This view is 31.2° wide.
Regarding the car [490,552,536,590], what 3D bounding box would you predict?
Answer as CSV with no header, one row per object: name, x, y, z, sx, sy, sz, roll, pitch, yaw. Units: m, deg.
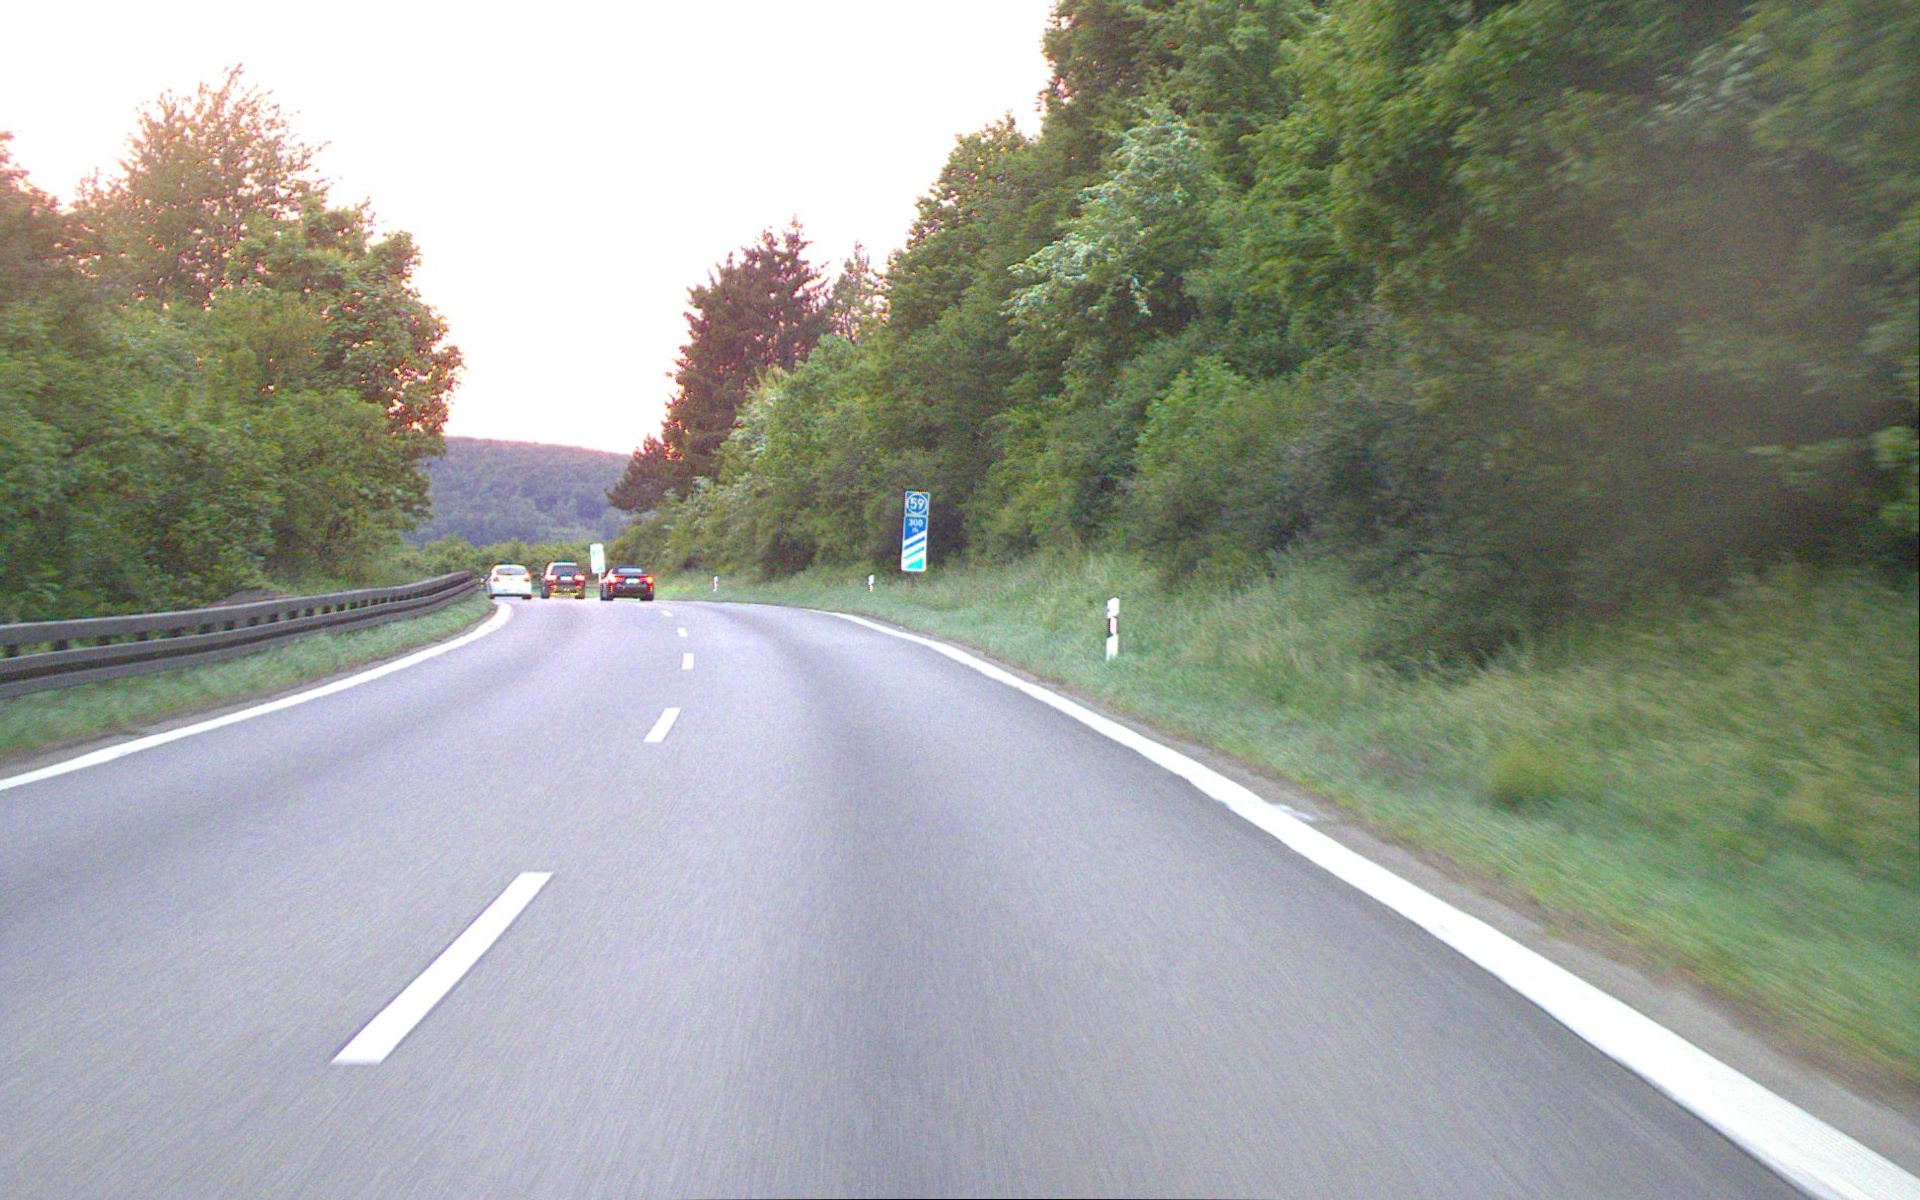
car,-19.184,-1.222,147.541,1.718,1.496,4.000,2,-1,-5

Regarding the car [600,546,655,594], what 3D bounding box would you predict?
car,-13.387,-1.197,138.265,1.993,1.640,4.000,3,-3,-7

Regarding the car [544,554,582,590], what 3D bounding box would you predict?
car,-18.190,-1.260,157.627,1.718,1.629,4.001,0,0,-6
